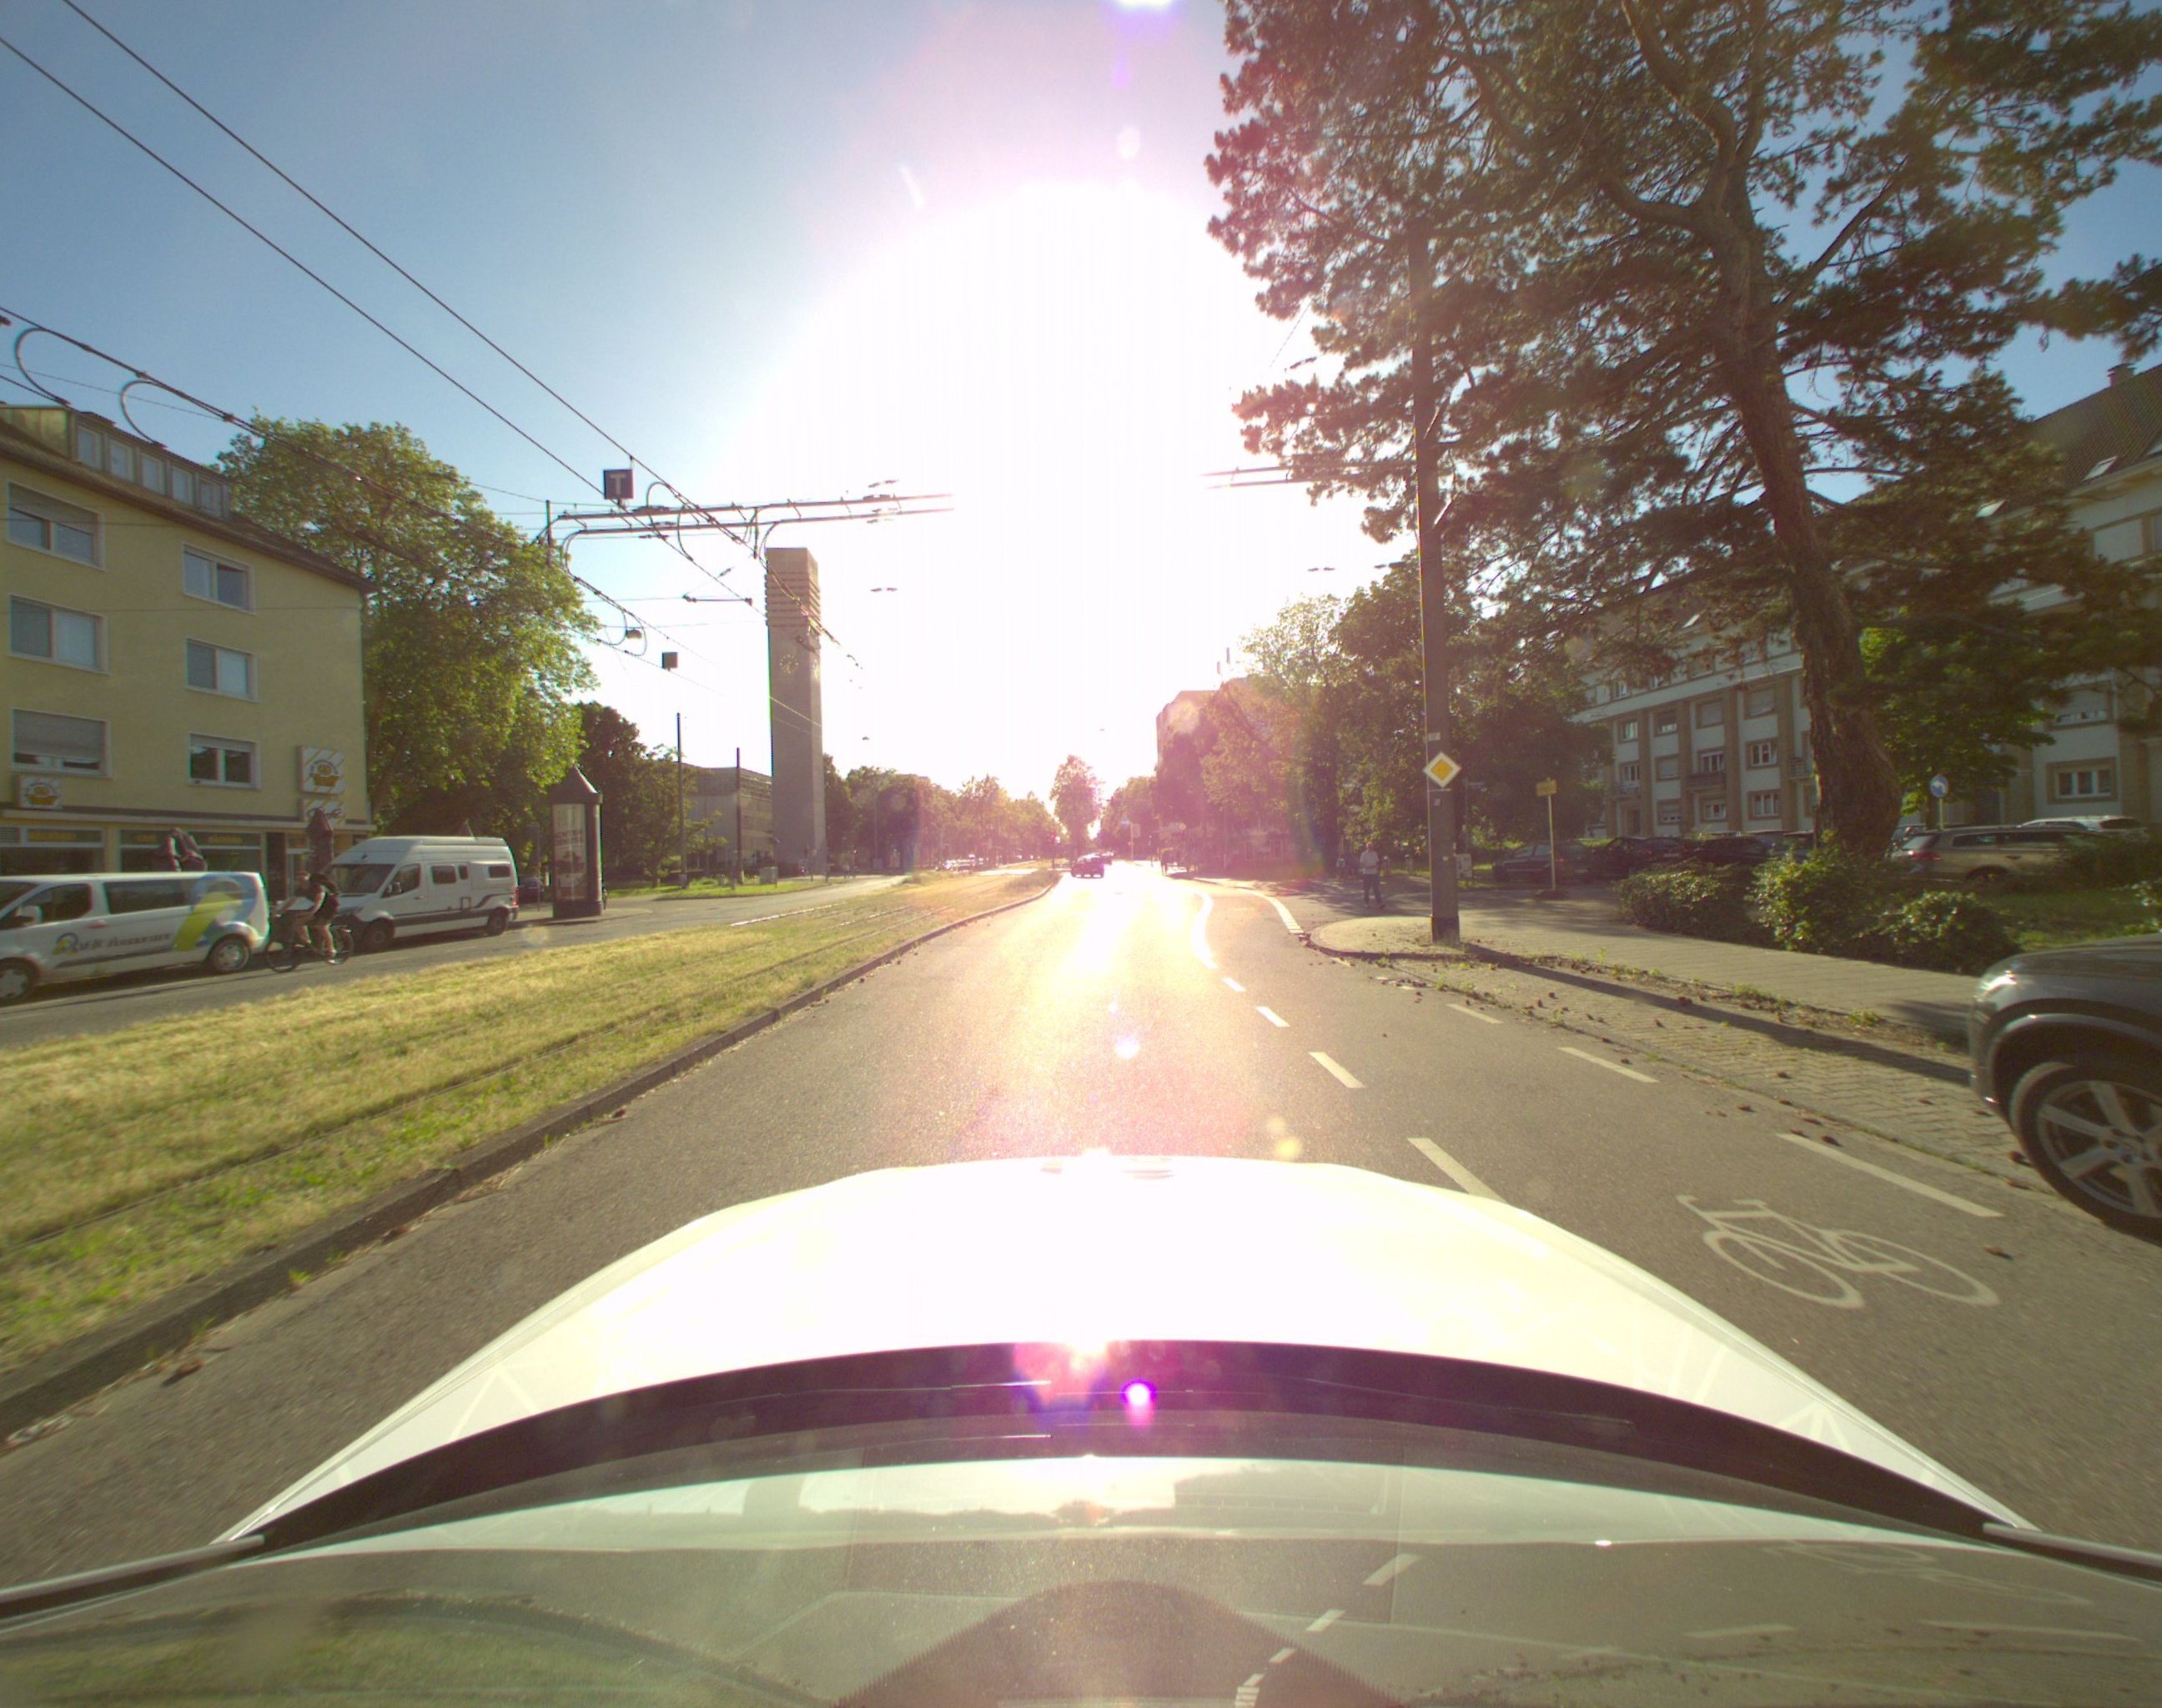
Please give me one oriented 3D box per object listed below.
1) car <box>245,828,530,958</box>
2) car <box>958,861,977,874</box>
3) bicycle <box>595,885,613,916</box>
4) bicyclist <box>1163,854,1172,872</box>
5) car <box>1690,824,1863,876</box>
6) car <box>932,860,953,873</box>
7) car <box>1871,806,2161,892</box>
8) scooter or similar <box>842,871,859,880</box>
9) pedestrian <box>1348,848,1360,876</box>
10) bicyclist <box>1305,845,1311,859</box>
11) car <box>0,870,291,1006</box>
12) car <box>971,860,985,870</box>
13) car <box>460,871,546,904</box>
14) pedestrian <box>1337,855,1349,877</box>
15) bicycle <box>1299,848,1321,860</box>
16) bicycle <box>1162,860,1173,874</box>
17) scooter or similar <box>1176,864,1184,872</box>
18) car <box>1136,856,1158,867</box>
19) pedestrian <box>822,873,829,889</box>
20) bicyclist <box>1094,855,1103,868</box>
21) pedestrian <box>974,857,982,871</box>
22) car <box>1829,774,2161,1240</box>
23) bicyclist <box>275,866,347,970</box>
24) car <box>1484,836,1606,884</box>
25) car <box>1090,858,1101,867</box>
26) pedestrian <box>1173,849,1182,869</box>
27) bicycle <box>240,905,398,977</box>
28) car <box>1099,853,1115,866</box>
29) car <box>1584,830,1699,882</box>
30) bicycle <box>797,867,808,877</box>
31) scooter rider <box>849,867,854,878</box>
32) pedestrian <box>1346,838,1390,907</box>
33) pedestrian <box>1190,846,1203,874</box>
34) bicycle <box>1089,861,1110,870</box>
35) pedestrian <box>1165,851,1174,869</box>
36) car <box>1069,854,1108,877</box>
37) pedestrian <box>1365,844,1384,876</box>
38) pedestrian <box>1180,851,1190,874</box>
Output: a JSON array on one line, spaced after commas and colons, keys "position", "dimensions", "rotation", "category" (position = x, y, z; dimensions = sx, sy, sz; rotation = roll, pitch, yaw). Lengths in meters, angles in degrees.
[{"position": [-17.663, 0.895, 21.370], "dimensions": [2.025, 2.869, 6.229], "rotation": [-1, 0, 1], "category": "car"}, {"position": [-14.757, 1.715, 106.110], "dimensions": [1.682, 1.533, 4.360], "rotation": [-2, 0, 0], "category": "car"}, {"position": [-20.027, 1.932, 34.146], "dimensions": [0.521, 1.252, 2.068], "rotation": [1, -2, -34], "category": "bicycle"}, {"position": [6.260, 0.657, 58.974], "dimensions": [0.635, 1.323, 0.803], "rotation": [0, -1, 2], "category": "bicyclist"}, {"position": [21.971, -0.115, 25.976], "dimensions": [1.633, 1.440, 4.233], "rotation": [-3, 0, -5], "category": "car"}, {"position": [-17.942, 1.599, 105.685], "dimensions": [1.801, 1.533, 4.360], "rotation": [-2, 0, 0], "category": "car"}, {"position": [19.417, -0.047, 16.648], "dimensions": [4.252, 1.502, 1.779], "rotation": [-3, -4, 23], "category": "car"}, {"position": [-25.055, 2.318, 88.586], "dimensions": [1.738, 0.899, 0.560], "rotation": [-2, -1, -16], "category": "scooter or similar"}, {"position": [12.096, 0.369, 36.101], "dimensions": [0.399, 1.226, 0.765], "rotation": [0, -1, 27], "category": "pedestrian"}, {"position": [26.600, -0.207, 95.334], "dimensions": [0.526, 1.567, 0.464], "rotation": [0, -1, -3], "category": "bicyclist"}, {"position": [-17.670, 1.344, 14.426], "dimensions": [2.025, 2.021, 5.371], "rotation": [0, 0, 1], "category": "car"}, {"position": [-14.971, 1.535, 118.465], "dimensions": [1.561, 1.402, 3.914], "rotation": [0, 0, 0], "category": "car"}, {"position": [-31.731, 1.840, 44.702], "dimensions": [3.955, 1.601, 1.758], "rotation": [-2, 0, 18], "category": "car"}, {"position": [11.642, 0.519, 36.187], "dimensions": [0.399, 0.934, 0.627], "rotation": [0, 2, 27], "category": "pedestrian"}, {"position": [26.946, -0.024, 95.897], "dimensions": [2.463, 1.399, 0.608], "rotation": [0, -1, -2], "category": "bicycle"}, {"position": [6.265, 0.919, 58.950], "dimensions": [0.645, 0.973, 1.805], "rotation": [0, 0, 3], "category": "bicycle"}, {"position": [8.386, 1.180, 69.073], "dimensions": [0.596, 0.737, 0.681], "rotation": [0, 0, -1], "category": "scooter or similar"}, {"position": [12.010, 1.387, 147.954], "dimensions": [3.966, 1.860, 2.015], "rotation": [0, 0, 6], "category": "car"}, {"position": [-27.561, 2.930, 87.733], "dimensions": [0.440, 1.666, 0.748], "rotation": [0, -1, 10], "category": "pedestrian"}, {"position": [2.124, 0.864, 96.663], "dimensions": [0.762, 1.471, 0.902], "rotation": [-3, 0, 17], "category": "bicyclist"}, {"position": [-12.455, 1.219, 98.178], "dimensions": [0.888, 1.606, 0.613], "rotation": [0, -1, 0], "category": "pedestrian"}, {"position": [4.883, 0.499, 1.794], "dimensions": [1.872, 1.717, 4.934], "rotation": [-5, 0, 1], "category": "car"}, {"position": [-15.289, 1.254, 16.191], "dimensions": [0.770, 2.014, 0.648], "rotation": [0, -1, 0], "category": "bicyclist"}, {"position": [16.430, 0.216, 29.068], "dimensions": [1.636, 1.494, 3.793], "rotation": [-3, 0, -11], "category": "car"}, {"position": [2.578, 1.489, 150.294], "dimensions": [1.888, 1.611, 4.498], "rotation": [0, 0, -1], "category": "car"}, {"position": [8.295, 0.439, 69.763], "dimensions": [0.725, 1.682, 0.534], "rotation": [0, -1, 12], "category": "pedestrian"}, {"position": [-15.192, 1.698, 16.365], "dimensions": [0.766, 1.146, 2.474], "rotation": [-4, 0, 0], "category": "bicycle"}, {"position": [3.610, 0.766, 113.488], "dimensions": [1.963, 1.860, 3.998], "rotation": [0, 0, -1], "category": "car"}, {"position": [19.141, 0.067, 28.017], "dimensions": [1.445, 1.572, 3.812], "rotation": [-3, 0, 4], "category": "car"}, {"position": [-31.433, 2.004, 91.925], "dimensions": [0.488, 1.046, 1.687], "rotation": [0, 0, 8], "category": "bicycle"}, {"position": [-24.972, 2.002, 88.611], "dimensions": [0.527, 1.218, 0.584], "rotation": [0, -1, -16], "category": "scooter rider"}, {"position": [7.450, 0.479, 21.161], "dimensions": [0.876, 1.722, 0.726], "rotation": [-3, 0, 5], "category": "pedestrian"}, {"position": [7.673, 0.413, 53.979], "dimensions": [0.699, 1.789, 0.695], "rotation": [-5, 0, 5], "category": "pedestrian"}, {"position": [2.201, 1.357, 96.620], "dimensions": [2.235, 0.987, 0.792], "rotation": [-1, 5, 15], "category": "bicycle"}, {"position": [7.545, 0.482, 69.452], "dimensions": [0.642, 1.522, 0.498], "rotation": [0, -1, 12], "category": "pedestrian"}, {"position": [0.497, 0.789, 57.586], "dimensions": [1.698, 1.508, 3.678], "rotation": [0, 0, -17], "category": "car"}, {"position": [12.875, 0.252, 35.712], "dimensions": [0.678, 1.373, 0.760], "rotation": [0, -1, 27], "category": "pedestrian"}, {"position": [6.930, 0.561, 54.219], "dimensions": [0.527, 1.529, 0.628], "rotation": [-4, -1, 5], "category": "pedestrian"}]
